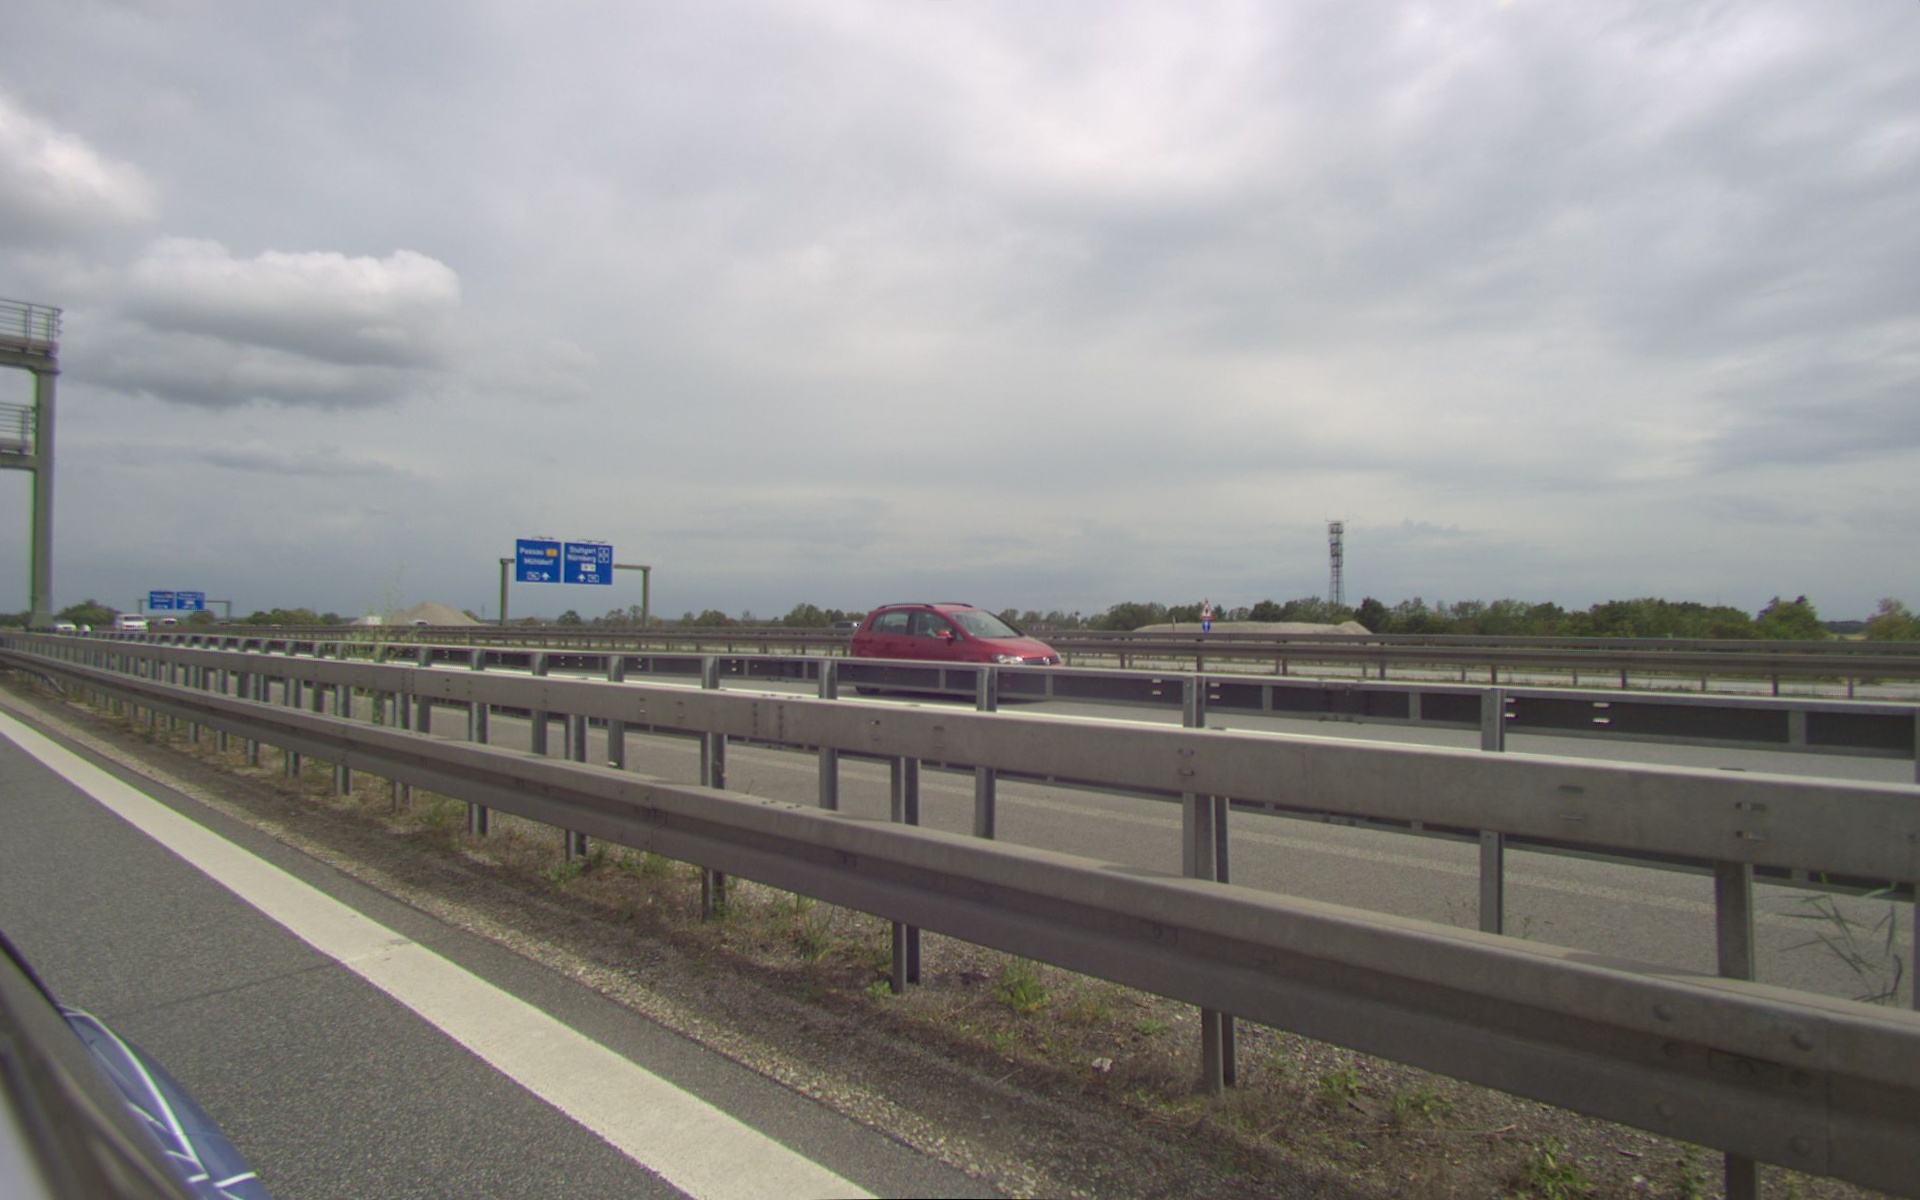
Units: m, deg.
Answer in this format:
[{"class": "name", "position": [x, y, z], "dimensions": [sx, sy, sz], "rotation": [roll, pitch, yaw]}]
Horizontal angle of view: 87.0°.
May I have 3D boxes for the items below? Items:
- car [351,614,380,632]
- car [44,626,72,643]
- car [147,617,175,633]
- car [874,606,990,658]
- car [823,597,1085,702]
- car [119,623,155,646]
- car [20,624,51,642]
[{"class": "car", "position": [-78.137, 3.041, 133.022], "dimensions": [4.489, 2.323, 1.972], "rotation": [-2, -1, 42]}, {"class": "car", "position": [-109.618, 4.216, 122.957], "dimensions": [3.997, 1.896, 1.973], "rotation": [-2, -1, 41]}, {"class": "car", "position": [-99.557, 3.086, 126.057], "dimensions": [4.822, 1.807, 1.890], "rotation": [-1, 3, 42]}, {"class": "car", "position": [-1.177, 1.267, 40.773], "dimensions": [4.503, 1.876, 1.973], "rotation": [-2, 2, 42]}, {"class": "car", "position": [-0.206, 0.804, 17.237], "dimensions": [4.352, 1.557, 1.800], "rotation": [-2, -1, 41]}, {"class": "car", "position": [-77.210, 3.268, 94.926], "dimensions": [4.465, 2.029, 1.972], "rotation": [-2, -1, 43]}, {"class": "car", "position": [-99.169, 3.548, 108.509], "dimensions": [3.997, 1.763, 1.973], "rotation": [-2, -1, 41]}]
